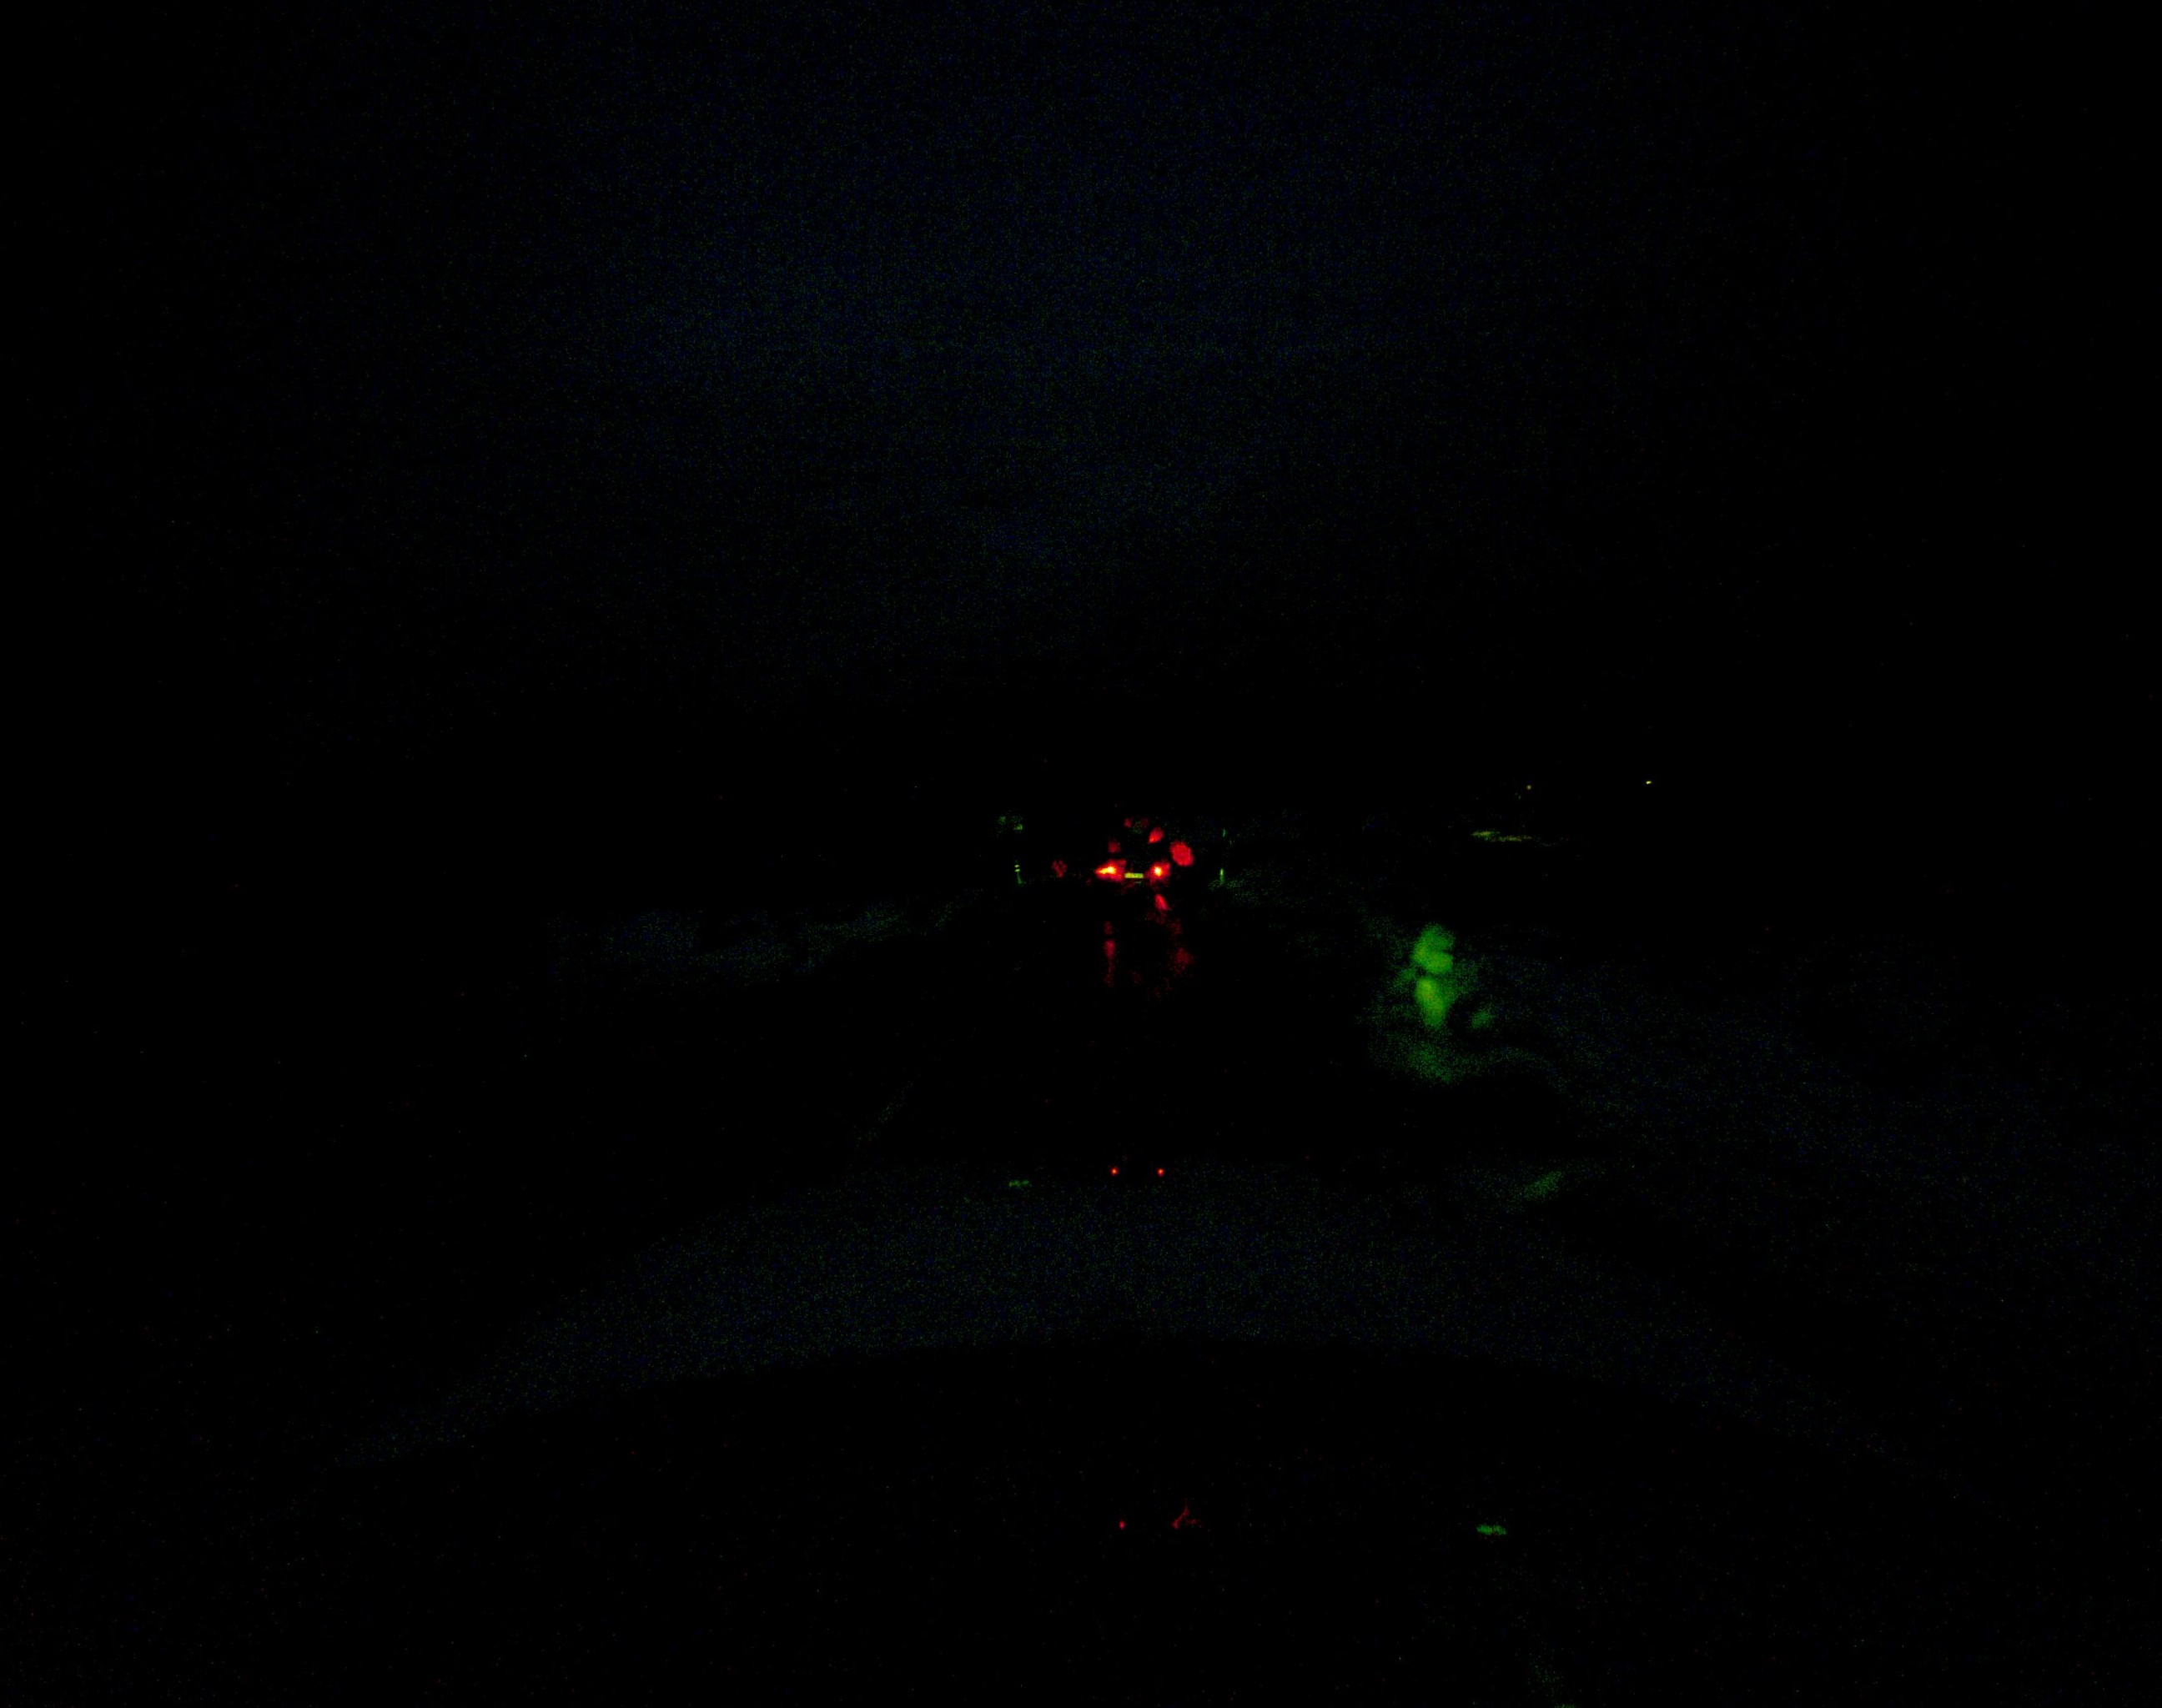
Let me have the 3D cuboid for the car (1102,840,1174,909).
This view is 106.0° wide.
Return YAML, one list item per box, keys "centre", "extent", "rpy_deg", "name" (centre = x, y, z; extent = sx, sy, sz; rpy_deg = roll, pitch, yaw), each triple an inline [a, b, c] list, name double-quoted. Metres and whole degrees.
- centre: [1.568, 0.561, 23.543]
  extent: [1.816, 1.797, 3.578]
  rpy_deg: [2, 0, 1]
  name: "car"

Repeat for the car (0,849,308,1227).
- centre: [-5.283, 0.785, 2.877]
  extent: [1.713, 1.534, 3.515]
  rpy_deg: [-2, 1, -1]
  name: "car"
